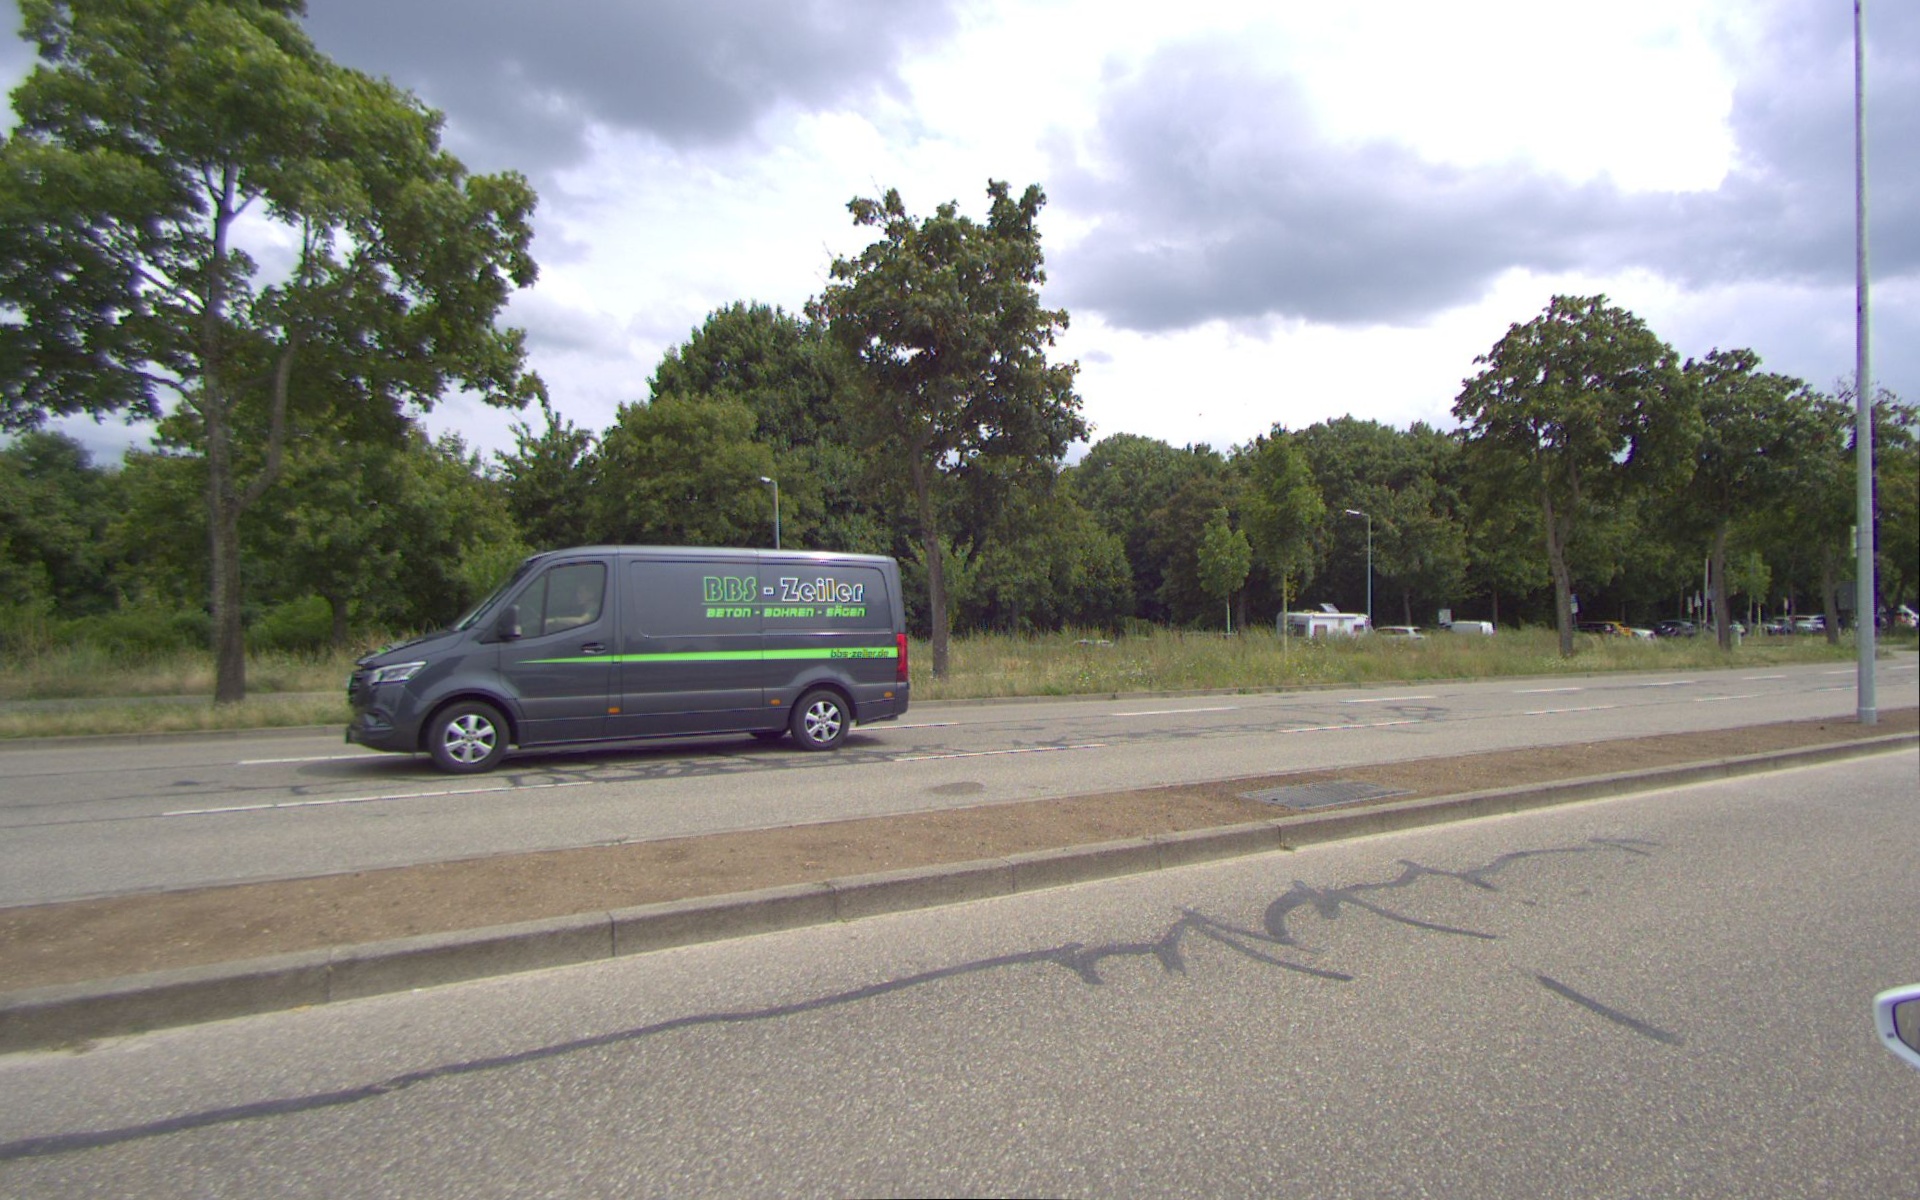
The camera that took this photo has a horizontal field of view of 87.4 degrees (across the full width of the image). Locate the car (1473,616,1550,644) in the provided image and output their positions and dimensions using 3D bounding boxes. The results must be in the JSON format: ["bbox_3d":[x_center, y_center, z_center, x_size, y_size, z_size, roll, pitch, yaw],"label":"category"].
[{"bbox_3d":[35.877,1.921,65.454,2.023,1.736,3.966,-1,0,-32],"label":"car"}]

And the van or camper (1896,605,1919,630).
[{"bbox_3d":[108.599,1.967,113.343,1.905,2.793,3.965,-1,0,-32],"label":"van or camper"}]

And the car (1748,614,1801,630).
[{"bbox_3d":[76.644,2.017,94.536,1.499,1.430,3.633,-1,0,-29],"label":"car"}]

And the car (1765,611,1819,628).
[{"bbox_3d":[80.640,1.888,97.382,1.860,1.539,3.633,-1,0,-30],"label":"car"}]

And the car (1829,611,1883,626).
[{"bbox_3d":[92.218,1.882,103.406,1.977,1.428,3.711,-1,0,-31],"label":"car"}]

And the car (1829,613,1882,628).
[{"bbox_3d":[94.404,2.129,105.889,1.942,1.445,3.756,-1,0,-30],"label":"car"}]

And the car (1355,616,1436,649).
[{"bbox_3d":[25.210,1.850,58.235,1.865,1.739,3.965,-1,0,-32],"label":"car"}]

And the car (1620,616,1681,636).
[{"bbox_3d":[53.818,1.997,78.375,1.499,1.430,3.633,-1,0,-29],"label":"car"}]

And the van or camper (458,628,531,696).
[{"bbox_3d":[-16.191,2.092,35.115,1.970,2.041,4.346,1,1,-21],"label":"van or camper"}]

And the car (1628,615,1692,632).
[{"bbox_3d":[56.620,1.908,81.302,1.546,1.276,3.966,-1,0,-31],"label":"car"}]

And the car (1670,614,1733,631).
[{"bbox_3d":[62.697,1.879,85.005,1.647,1.378,3.969,-1,0,-29],"label":"car"}]

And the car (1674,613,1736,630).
[{"bbox_3d":[64.668,1.840,87.246,1.800,1.378,3.969,-1,0,-29],"label":"car"}]

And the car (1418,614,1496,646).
[{"bbox_3d":[31.058,1.824,62.819,1.917,1.912,3.966,-1,0,-32],"label":"car"}]

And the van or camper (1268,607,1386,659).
[{"bbox_3d":[19.979,1.731,54.599,6.644,2.575,2.459,-1,0,-32],"label":"van or camper"}]

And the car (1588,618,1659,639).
[{"bbox_3d":[50.124,2.133,75.963,1.863,1.518,4.161,-1,0,-30],"label":"car"}]

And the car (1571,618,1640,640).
[{"bbox_3d":[48.115,2.140,74.907,1.764,1.518,3.968,-1,0,-30],"label":"car"}]

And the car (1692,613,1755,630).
[{"bbox_3d":[67.243,1.850,88.542,1.974,1.429,3.972,-1,0,-27],"label":"car"}]

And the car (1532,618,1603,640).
[{"bbox_3d":[43.648,2.051,72.246,1.976,1.468,3.969,-1,0,-29],"label":"car"}]

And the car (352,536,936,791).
[{"bbox_3d":[-3.350,0.595,11.277,5.936,2.230,2.084,0,-2,-32],"label":"car"}]
